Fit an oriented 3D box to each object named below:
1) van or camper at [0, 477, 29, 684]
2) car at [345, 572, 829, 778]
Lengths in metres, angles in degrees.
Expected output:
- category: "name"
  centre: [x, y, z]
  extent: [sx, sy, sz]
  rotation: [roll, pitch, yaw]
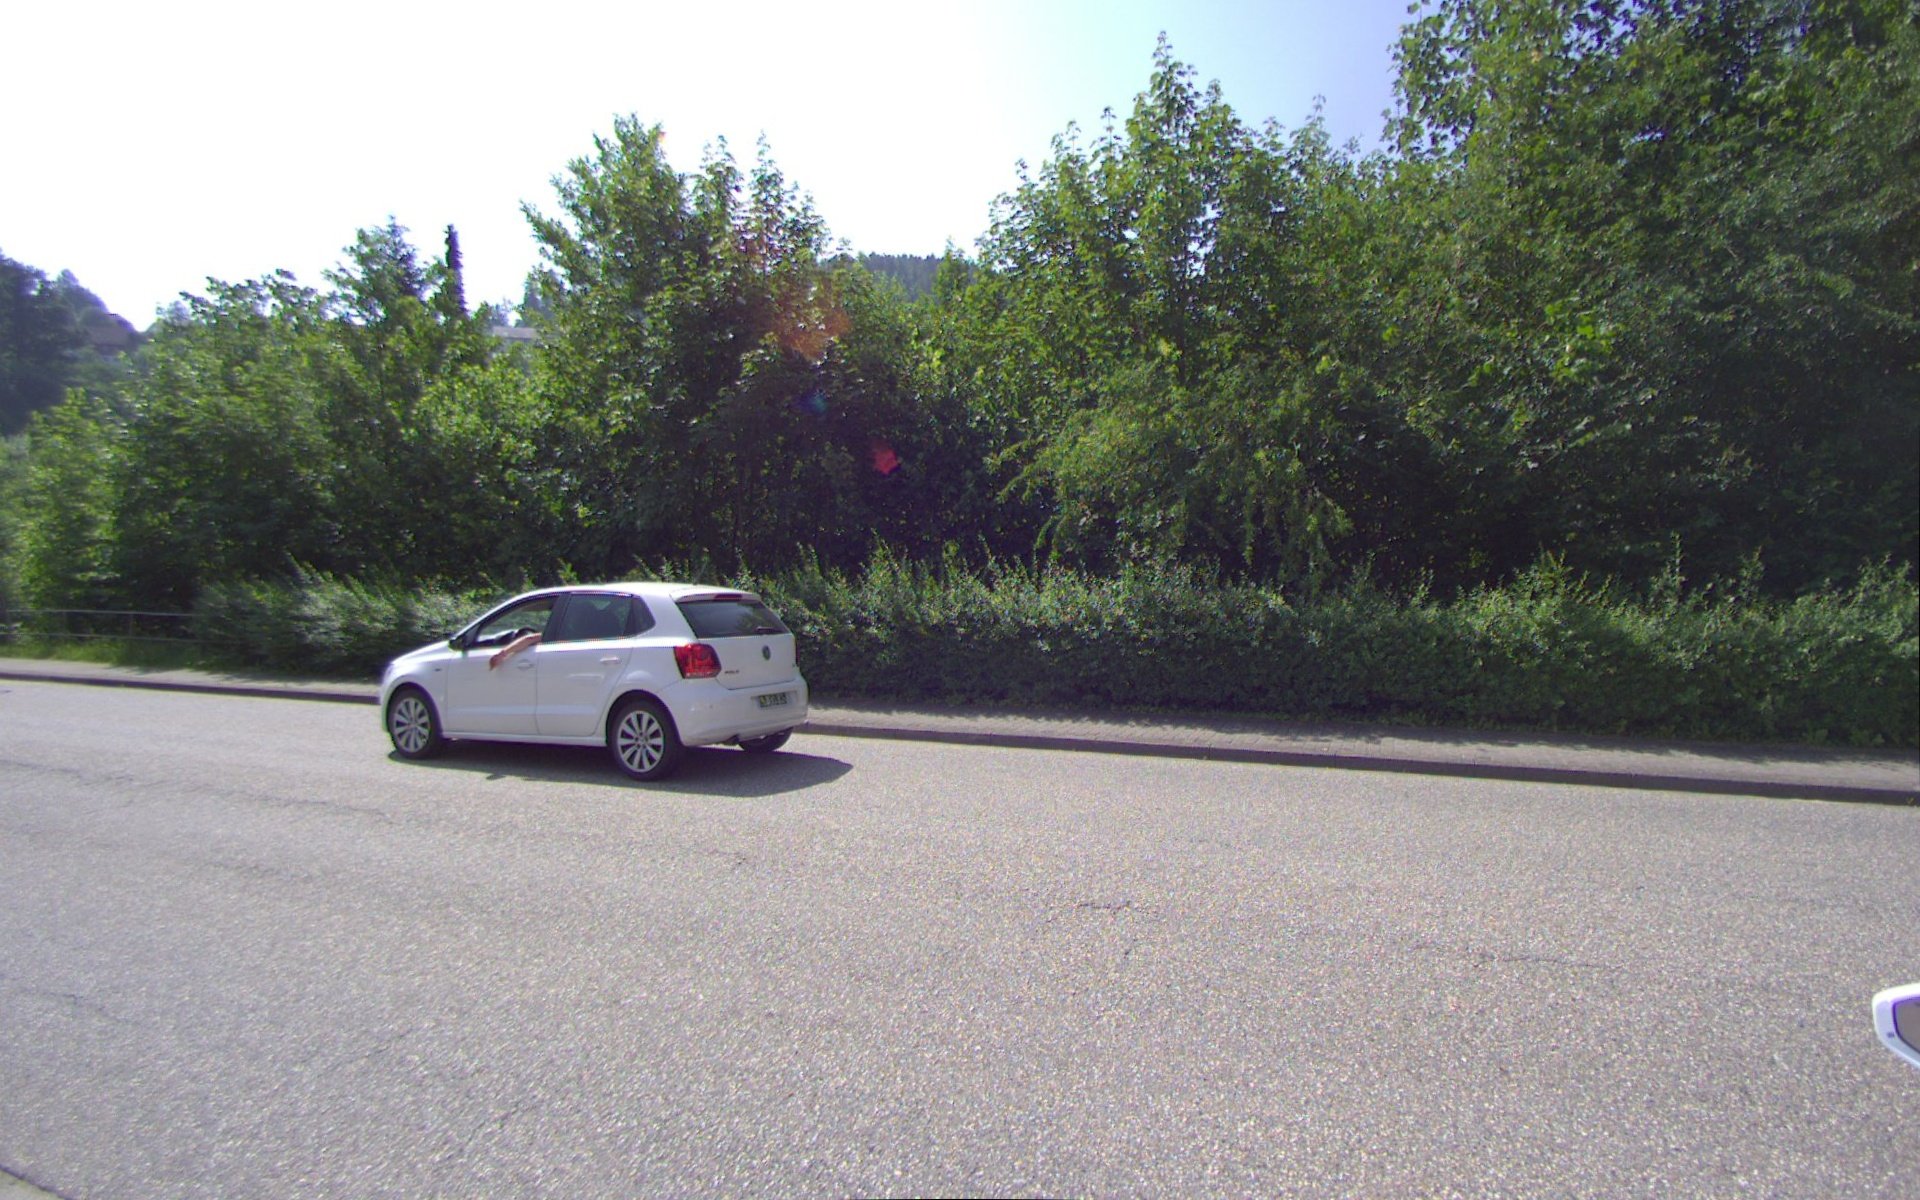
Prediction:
- category: "van or camper"
  centre: [-17.861, -0.257, 15.399]
  extent: [7.898, 2.992, 2.364]
  rotation: [0, 1, 24]
- category: "car"
  centre: [-3.146, 0.507, 8.457]
  extent: [3.754, 1.424, 1.609]
  rotation: [1, 0, 24]
